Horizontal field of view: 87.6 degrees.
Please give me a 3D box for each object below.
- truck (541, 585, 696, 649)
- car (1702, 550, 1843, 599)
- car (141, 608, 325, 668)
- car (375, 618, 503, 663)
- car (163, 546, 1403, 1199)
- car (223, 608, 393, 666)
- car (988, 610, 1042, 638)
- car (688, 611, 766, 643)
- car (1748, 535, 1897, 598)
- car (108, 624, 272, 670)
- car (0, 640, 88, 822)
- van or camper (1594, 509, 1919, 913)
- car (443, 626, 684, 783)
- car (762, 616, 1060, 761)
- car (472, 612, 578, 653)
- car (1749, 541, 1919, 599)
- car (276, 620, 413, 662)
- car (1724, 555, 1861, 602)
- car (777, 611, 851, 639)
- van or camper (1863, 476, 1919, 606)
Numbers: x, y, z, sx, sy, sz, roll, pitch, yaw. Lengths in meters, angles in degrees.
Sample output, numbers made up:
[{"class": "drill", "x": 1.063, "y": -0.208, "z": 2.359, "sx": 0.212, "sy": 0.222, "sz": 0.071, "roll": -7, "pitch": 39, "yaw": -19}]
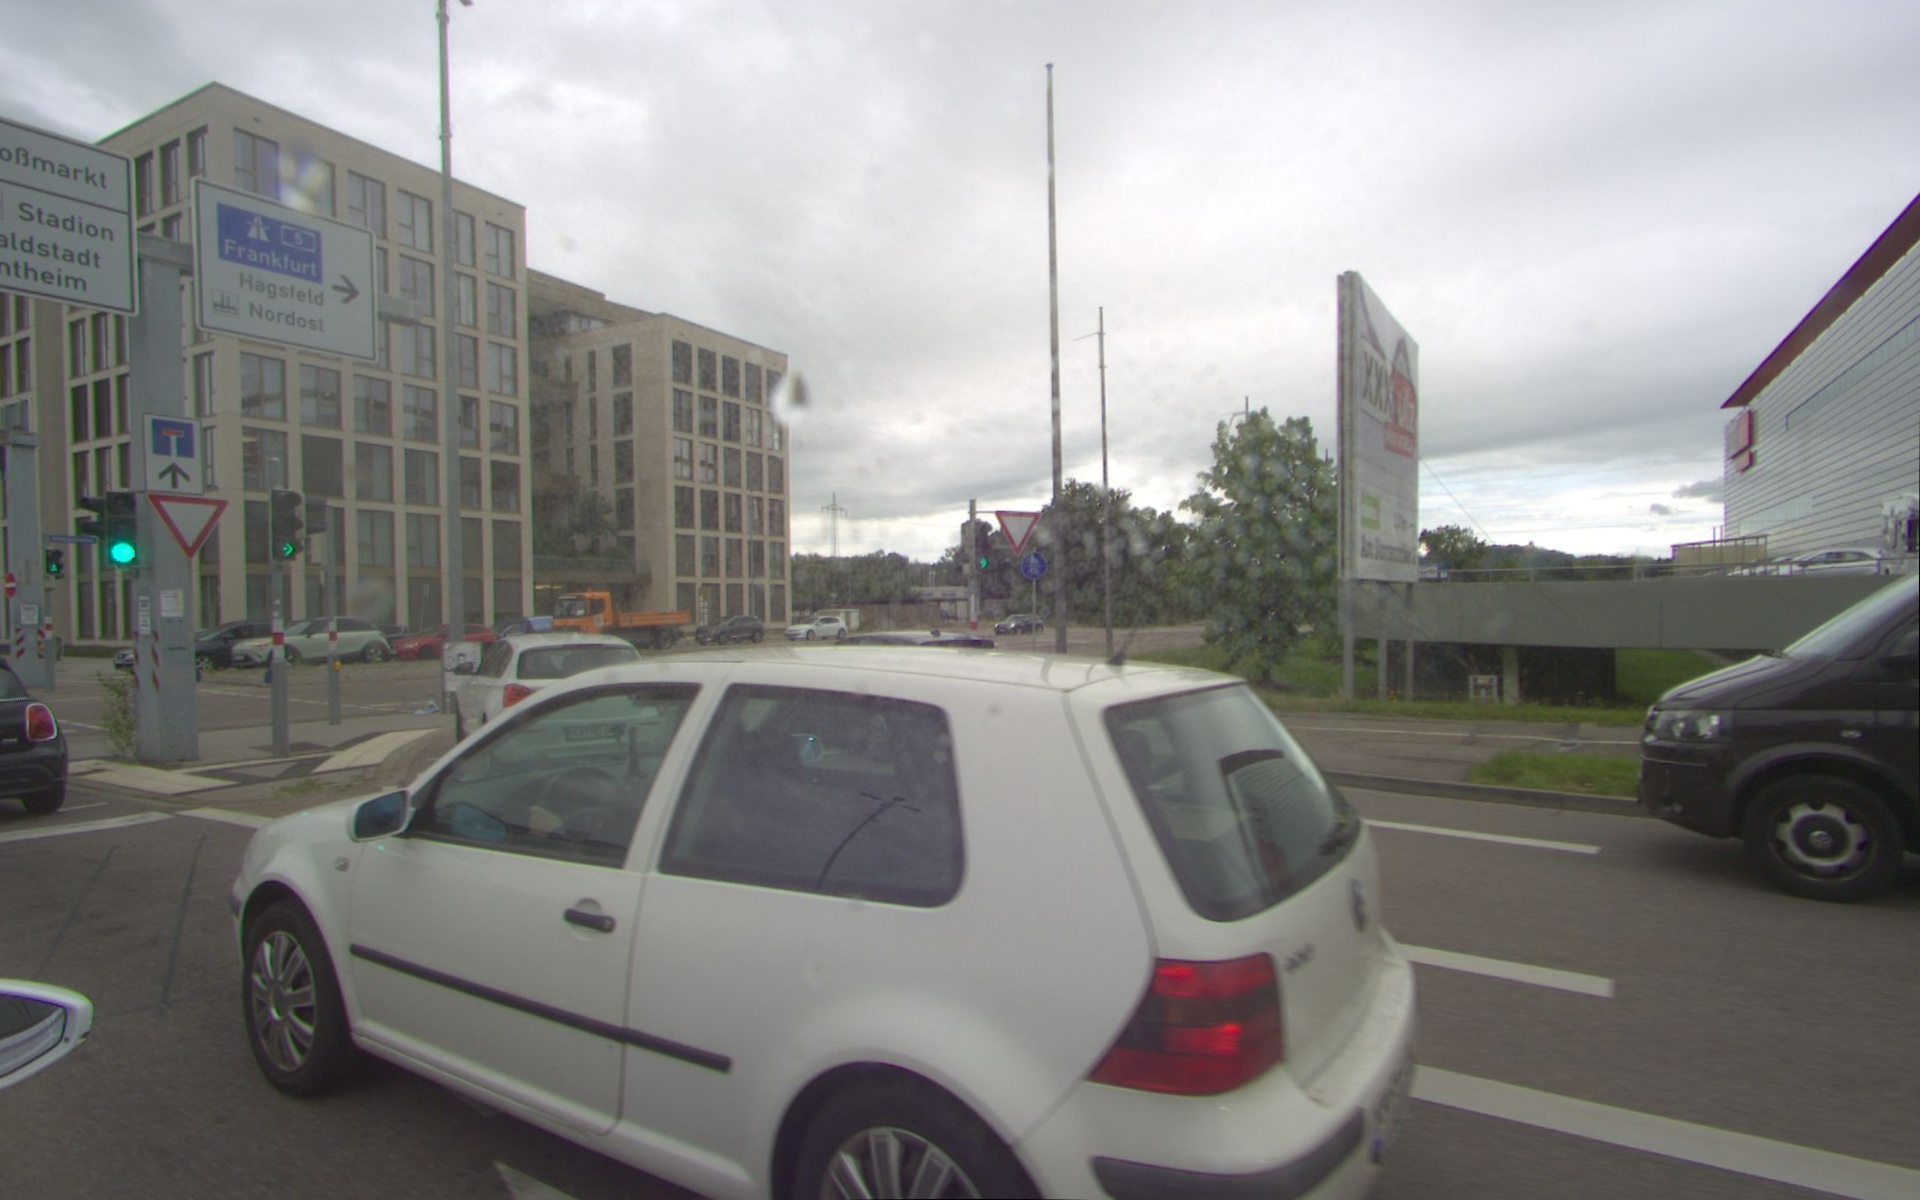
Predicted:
[{"class": "truck", "x": -15.562, "y": 0.866, "z": 46.116, "sx": 2.780, "sy": 2.671, "sz": 6.646, "roll": -2, "pitch": -3, "yaw": 30}, {"class": "car", "x": 32.674, "y": -0.980, "z": 40.439, "sx": 4.200, "sy": 1.697, "sz": 1.768, "roll": -2, "pitch": -2, "yaw": 33}, {"class": "car", "x": -23.302, "y": 1.224, "z": 32.301, "sx": 1.970, "sy": 1.791, "sz": 4.405, "roll": -2, "pitch": -3, "yaw": 28}, {"class": "car", "x": -19.899, "y": 1.550, "z": 38.400, "sx": 1.970, "sy": 1.621, "sz": 3.984, "roll": -2, "pitch": -3, "yaw": 29}, {"class": "car", "x": -0.786, "y": 0.758, "z": 3.391, "sx": 3.949, "sy": 1.496, "sz": 1.829, "roll": -2, "pitch": -3, "yaw": 33}, {"class": "car", "x": -20.182, "y": 1.158, "z": 31.188, "sx": 1.876, "sy": 1.664, "sz": 4.055, "roll": -2, "pitch": -3, "yaw": 27}, {"class": "car", "x": 3.776, "y": 1.671, "z": 67.796, "sx": 1.970, "sy": 1.791, "sz": 4.405, "roll": -2, "pitch": -3, "yaw": 28}, {"class": "car", "x": -13.221, "y": 1.561, "z": 57.041, "sx": 1.973, "sy": 1.678, "sz": 4.098, "roll": -2, "pitch": -3, "yaw": 34}, {"class": "car", "x": 32.155, "y": -1.177, "z": 37.510, "sx": 3.946, "sy": 2.039, "sz": 1.989, "roll": -2, "pitch": -2, "yaw": 34}, {"class": "car", "x": -26.044, "y": 1.575, "z": 34.014, "sx": 1.725, "sy": 1.450, "sz": 4.082, "roll": -2, "pitch": -3, "yaw": 28}, {"class": "car", "x": -9.307, "y": 1.090, "z": 8.623, "sx": 3.592, "sy": 1.433, "sz": 1.783, "roll": -2, "pitch": -3, "yaw": 33}, {"class": "van or camper", "x": 6.330, "y": 0.550, "z": 5.316, "sx": 4.879, "sy": 2.039, "sz": 2.151, "roll": -2, "pitch": -3, "yaw": 36}, {"class": "car", "x": -4.676, "y": 1.059, "z": 11.433, "sx": 1.810, "sy": 1.428, "sz": 4.174, "roll": 1, "pitch": -3, "yaw": -33}, {"class": "car", "x": -0.795, "y": 0.998, "z": 12.401, "sx": 1.880, "sy": 1.467, "sz": 4.157, "roll": 1, "pitch": -3, "yaw": -33}, {"class": "car", "x": -19.728, "y": 1.498, "z": 45.589, "sx": 1.970, "sy": 1.791, "sz": 4.134, "roll": -2, "pitch": -3, "yaw": 28}, {"class": "car", "x": 30.094, "y": -0.999, "z": 34.607, "sx": 4.200, "sy": 1.697, "sz": 1.768, "roll": -2, "pitch": -2, "yaw": 33}, {"class": "car", "x": -23.519, "y": 1.574, "z": 38.410, "sx": 1.844, "sy": 1.509, "sz": 4.134, "roll": -2, "pitch": -3, "yaw": 28}, {"class": "car", "x": 35.093, "y": -0.876, "z": 42.377, "sx": 4.200, "sy": 1.697, "sz": 1.768, "roll": -2, "pitch": -2, "yaw": 33}, {"class": "car", "x": -8.992, "y": 1.572, "z": 62.080, "sx": 1.978, "sy": 1.678, "sz": 4.326, "roll": -2, "pitch": -3, "yaw": 41}, {"class": "van or camper", "x": 27.089, "y": -1.566, "z": 27.049, "sx": 2.677, "sy": 3.175, "sz": 7.201, "roll": -2, "pitch": -3, "yaw": 32}]
